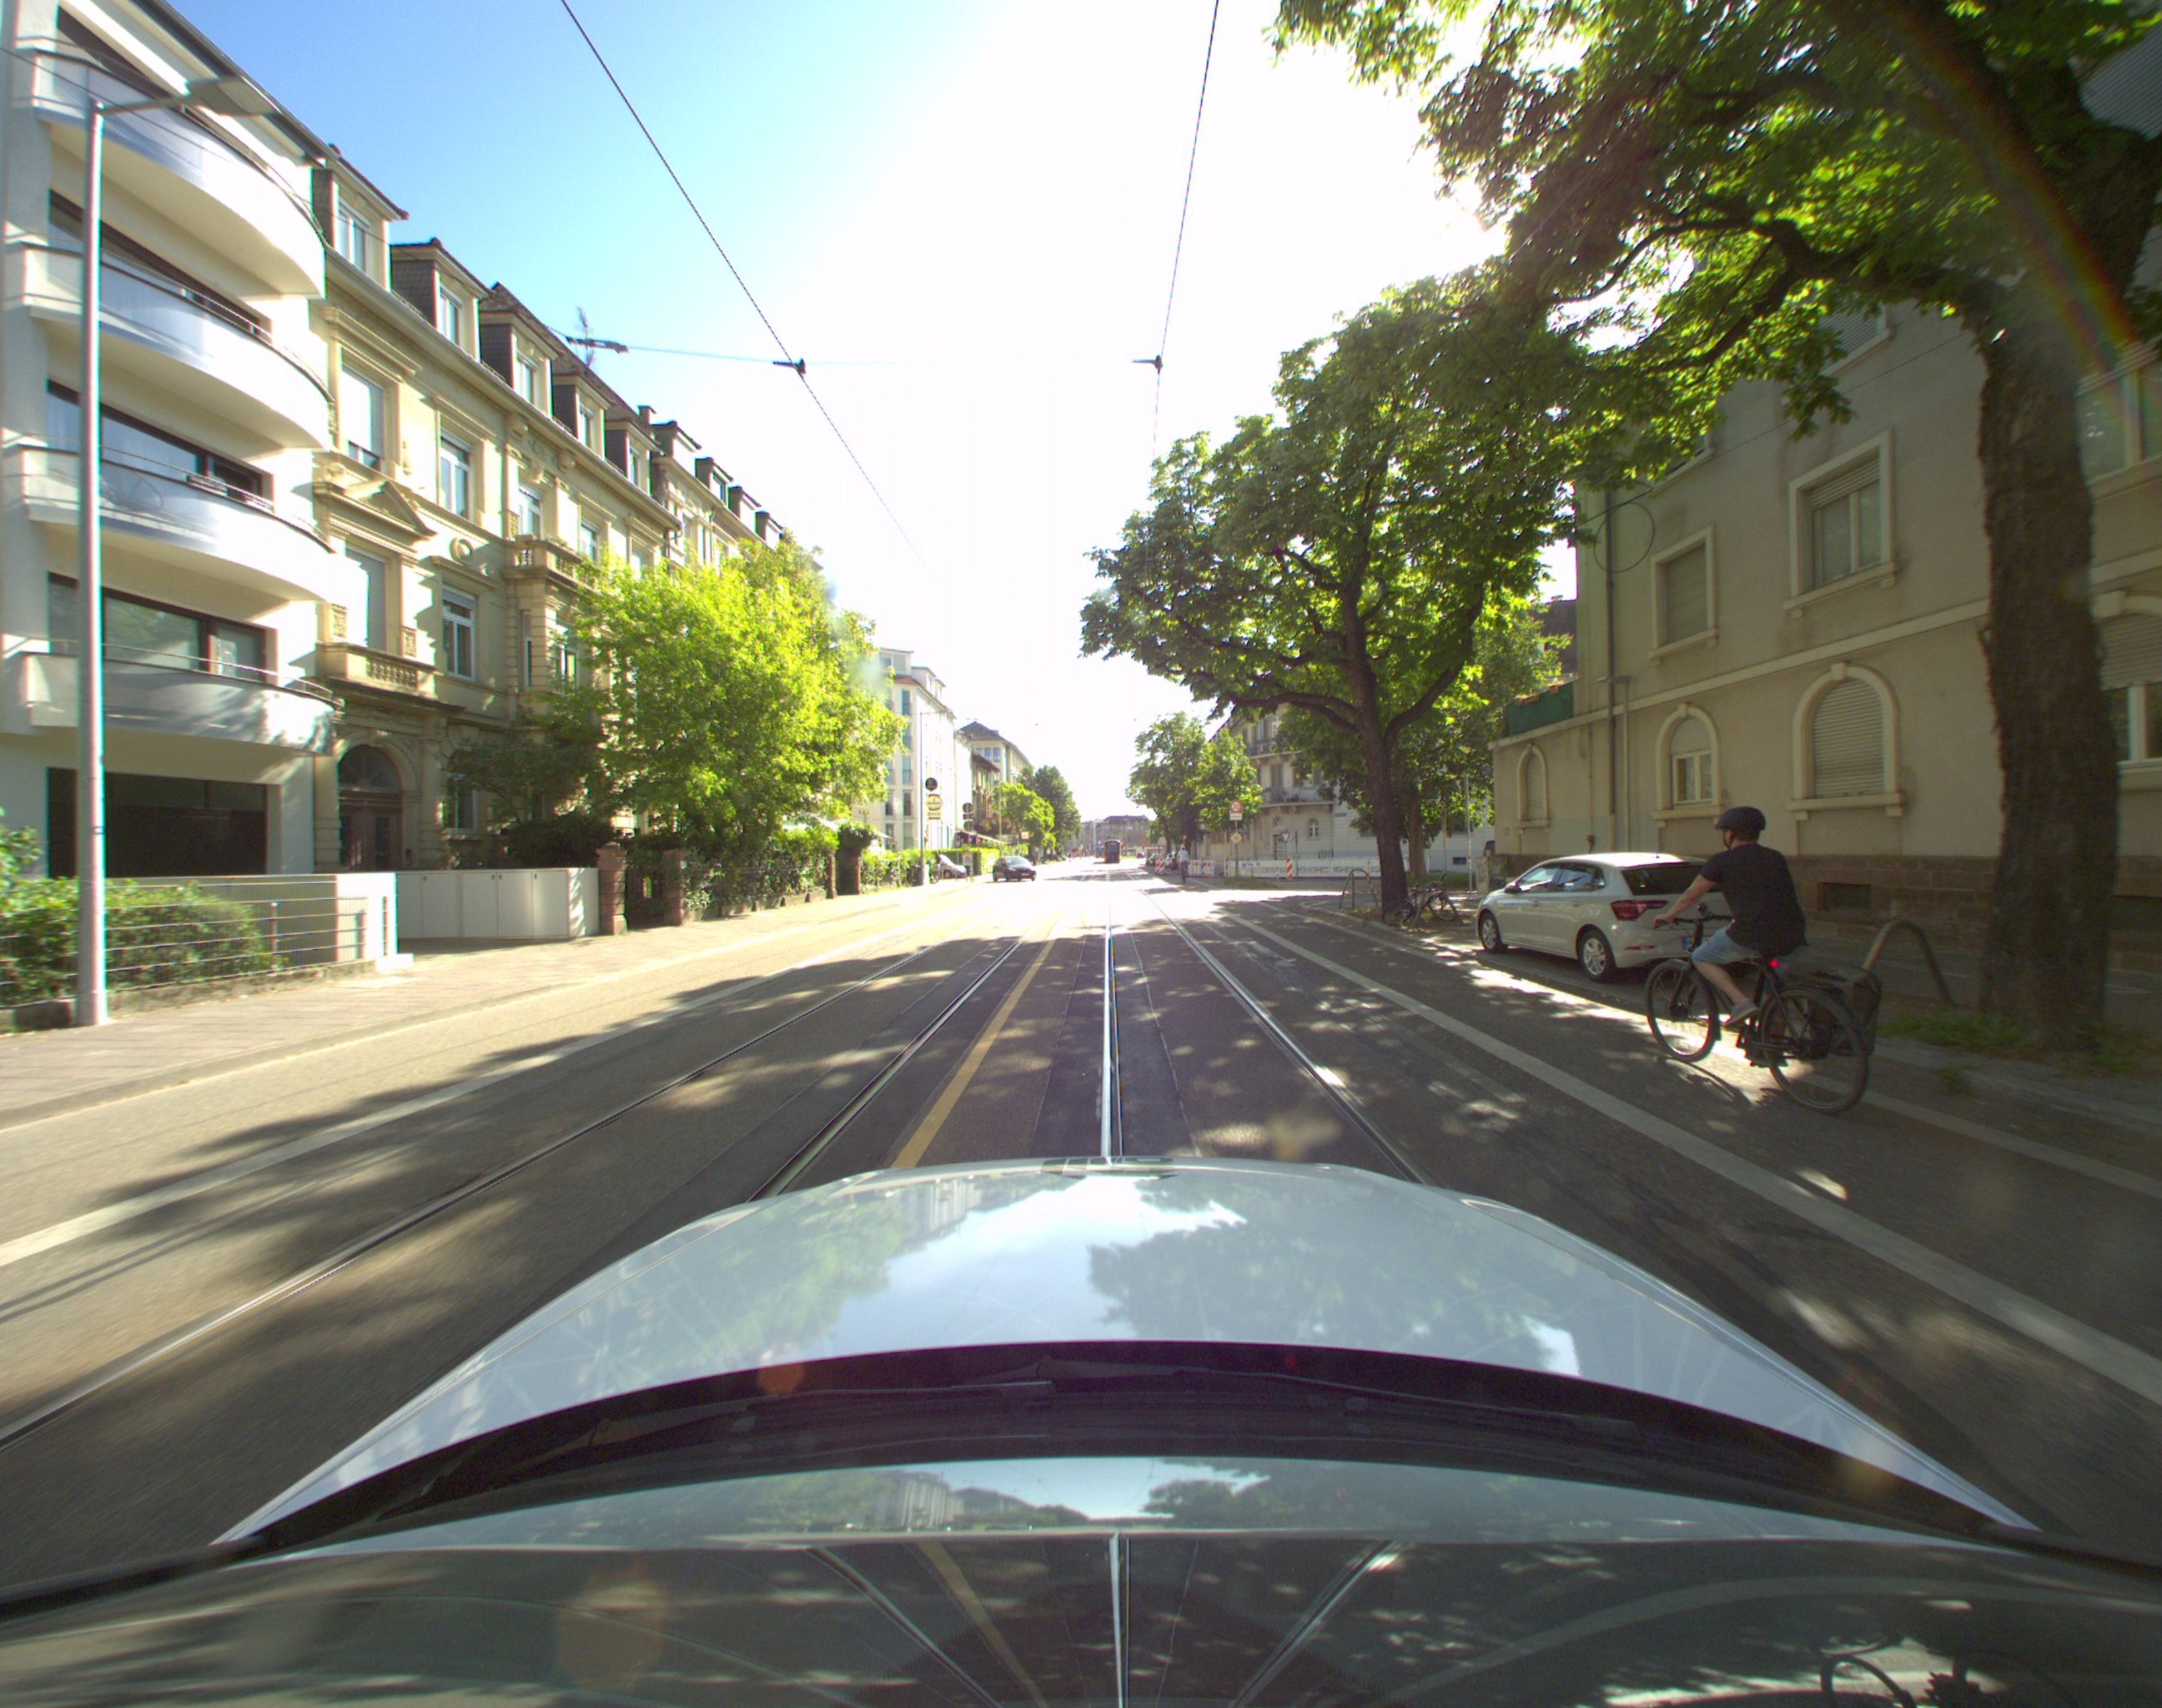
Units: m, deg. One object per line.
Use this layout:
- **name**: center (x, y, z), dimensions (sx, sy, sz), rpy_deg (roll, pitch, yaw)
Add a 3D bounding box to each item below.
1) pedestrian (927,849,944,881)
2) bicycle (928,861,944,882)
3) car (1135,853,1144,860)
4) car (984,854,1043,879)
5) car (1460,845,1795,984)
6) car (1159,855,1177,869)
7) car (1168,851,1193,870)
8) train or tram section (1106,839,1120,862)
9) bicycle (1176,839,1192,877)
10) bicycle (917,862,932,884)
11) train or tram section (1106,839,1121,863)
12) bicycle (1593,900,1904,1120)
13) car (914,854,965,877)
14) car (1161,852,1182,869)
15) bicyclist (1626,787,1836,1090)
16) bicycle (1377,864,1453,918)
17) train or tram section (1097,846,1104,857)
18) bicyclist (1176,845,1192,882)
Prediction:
- **pedestrian**: center (-8.015, 0.591, 44.846), dimensions (0.767, 1.712, 0.669), rpy_deg (1, 0, 2)
- **bicycle**: center (-7.770, 0.945, 43.511), dimensions (0.634, 1.069, 1.822), rpy_deg (1, 0, -16)
- **car**: center (13.823, 0.539, 191.796), dimensions (1.865, 1.662, 3.516), rpy_deg (1, 0, 1)
- **car**: center (-4.015, 0.757, 48.034), dimensions (1.768, 1.420, 3.538), rpy_deg (1, -2, -39)
- **car**: center (6.731, 0.639, 10.647), dimensions (1.742, 1.420, 4.001), rpy_deg (-2, 0, 1)
- **car**: center (9.937, 0.852, 93.576), dimensions (1.748, 1.552, 3.678), rpy_deg (0, 0, 1)
- **car**: center (8.405, 0.530, 69.201), dimensions (1.748, 1.552, 3.678), rpy_deg (1, 0, 1)
- **train or tram section**: center (4.946, -0.498, 126.971), dimensions (2.145, 3.431, 6.613), rpy_deg (1, 0, 2)
- **bicycle**: center (5.165, 0.208, 40.896), dimensions (0.660, 1.859, 2.262), rpy_deg (1, 0, 3)
- **bicycle**: center (-7.980, 0.951, 41.574), dimensions (0.634, 1.069, 1.822), rpy_deg (1, 0, -15)
- **train or tram section**: center (4.766, -0.451, 120.308), dimensions (2.145, 3.431, 6.613), rpy_deg (1, 0, 2)
- **bicycle**: center (4.252, 0.916, 5.390), dimensions (0.689, 1.112, 1.719), rpy_deg (1, 0, 2)
- **car**: center (-10.033, 0.809, 57.943), dimensions (3.407, 1.640, 1.668), rpy_deg (1, 0, -8)
- **car**: center (8.548, 0.590, 77.125), dimensions (1.748, 1.552, 3.678), rpy_deg (1, 0, 1)
- **bicyclist**: center (4.264, 0.516, 5.410), dimensions (0.725, 1.848, 0.837), rpy_deg (1, 0, 1)
- **bicycle**: center (6.618, 0.727, 16.191), dimensions (1.262, 1.024, 0.706), rpy_deg (1, -1, 9)
- **train or tram section**: center (6.000, -0.808, 249.496), dimensions (2.145, 3.431, 6.613), rpy_deg (1, 0, 2)
- **bicyclist**: center (5.168, 0.473, 40.903), dimensions (0.643, 1.796, 0.956), rpy_deg (1, 0, 1)
